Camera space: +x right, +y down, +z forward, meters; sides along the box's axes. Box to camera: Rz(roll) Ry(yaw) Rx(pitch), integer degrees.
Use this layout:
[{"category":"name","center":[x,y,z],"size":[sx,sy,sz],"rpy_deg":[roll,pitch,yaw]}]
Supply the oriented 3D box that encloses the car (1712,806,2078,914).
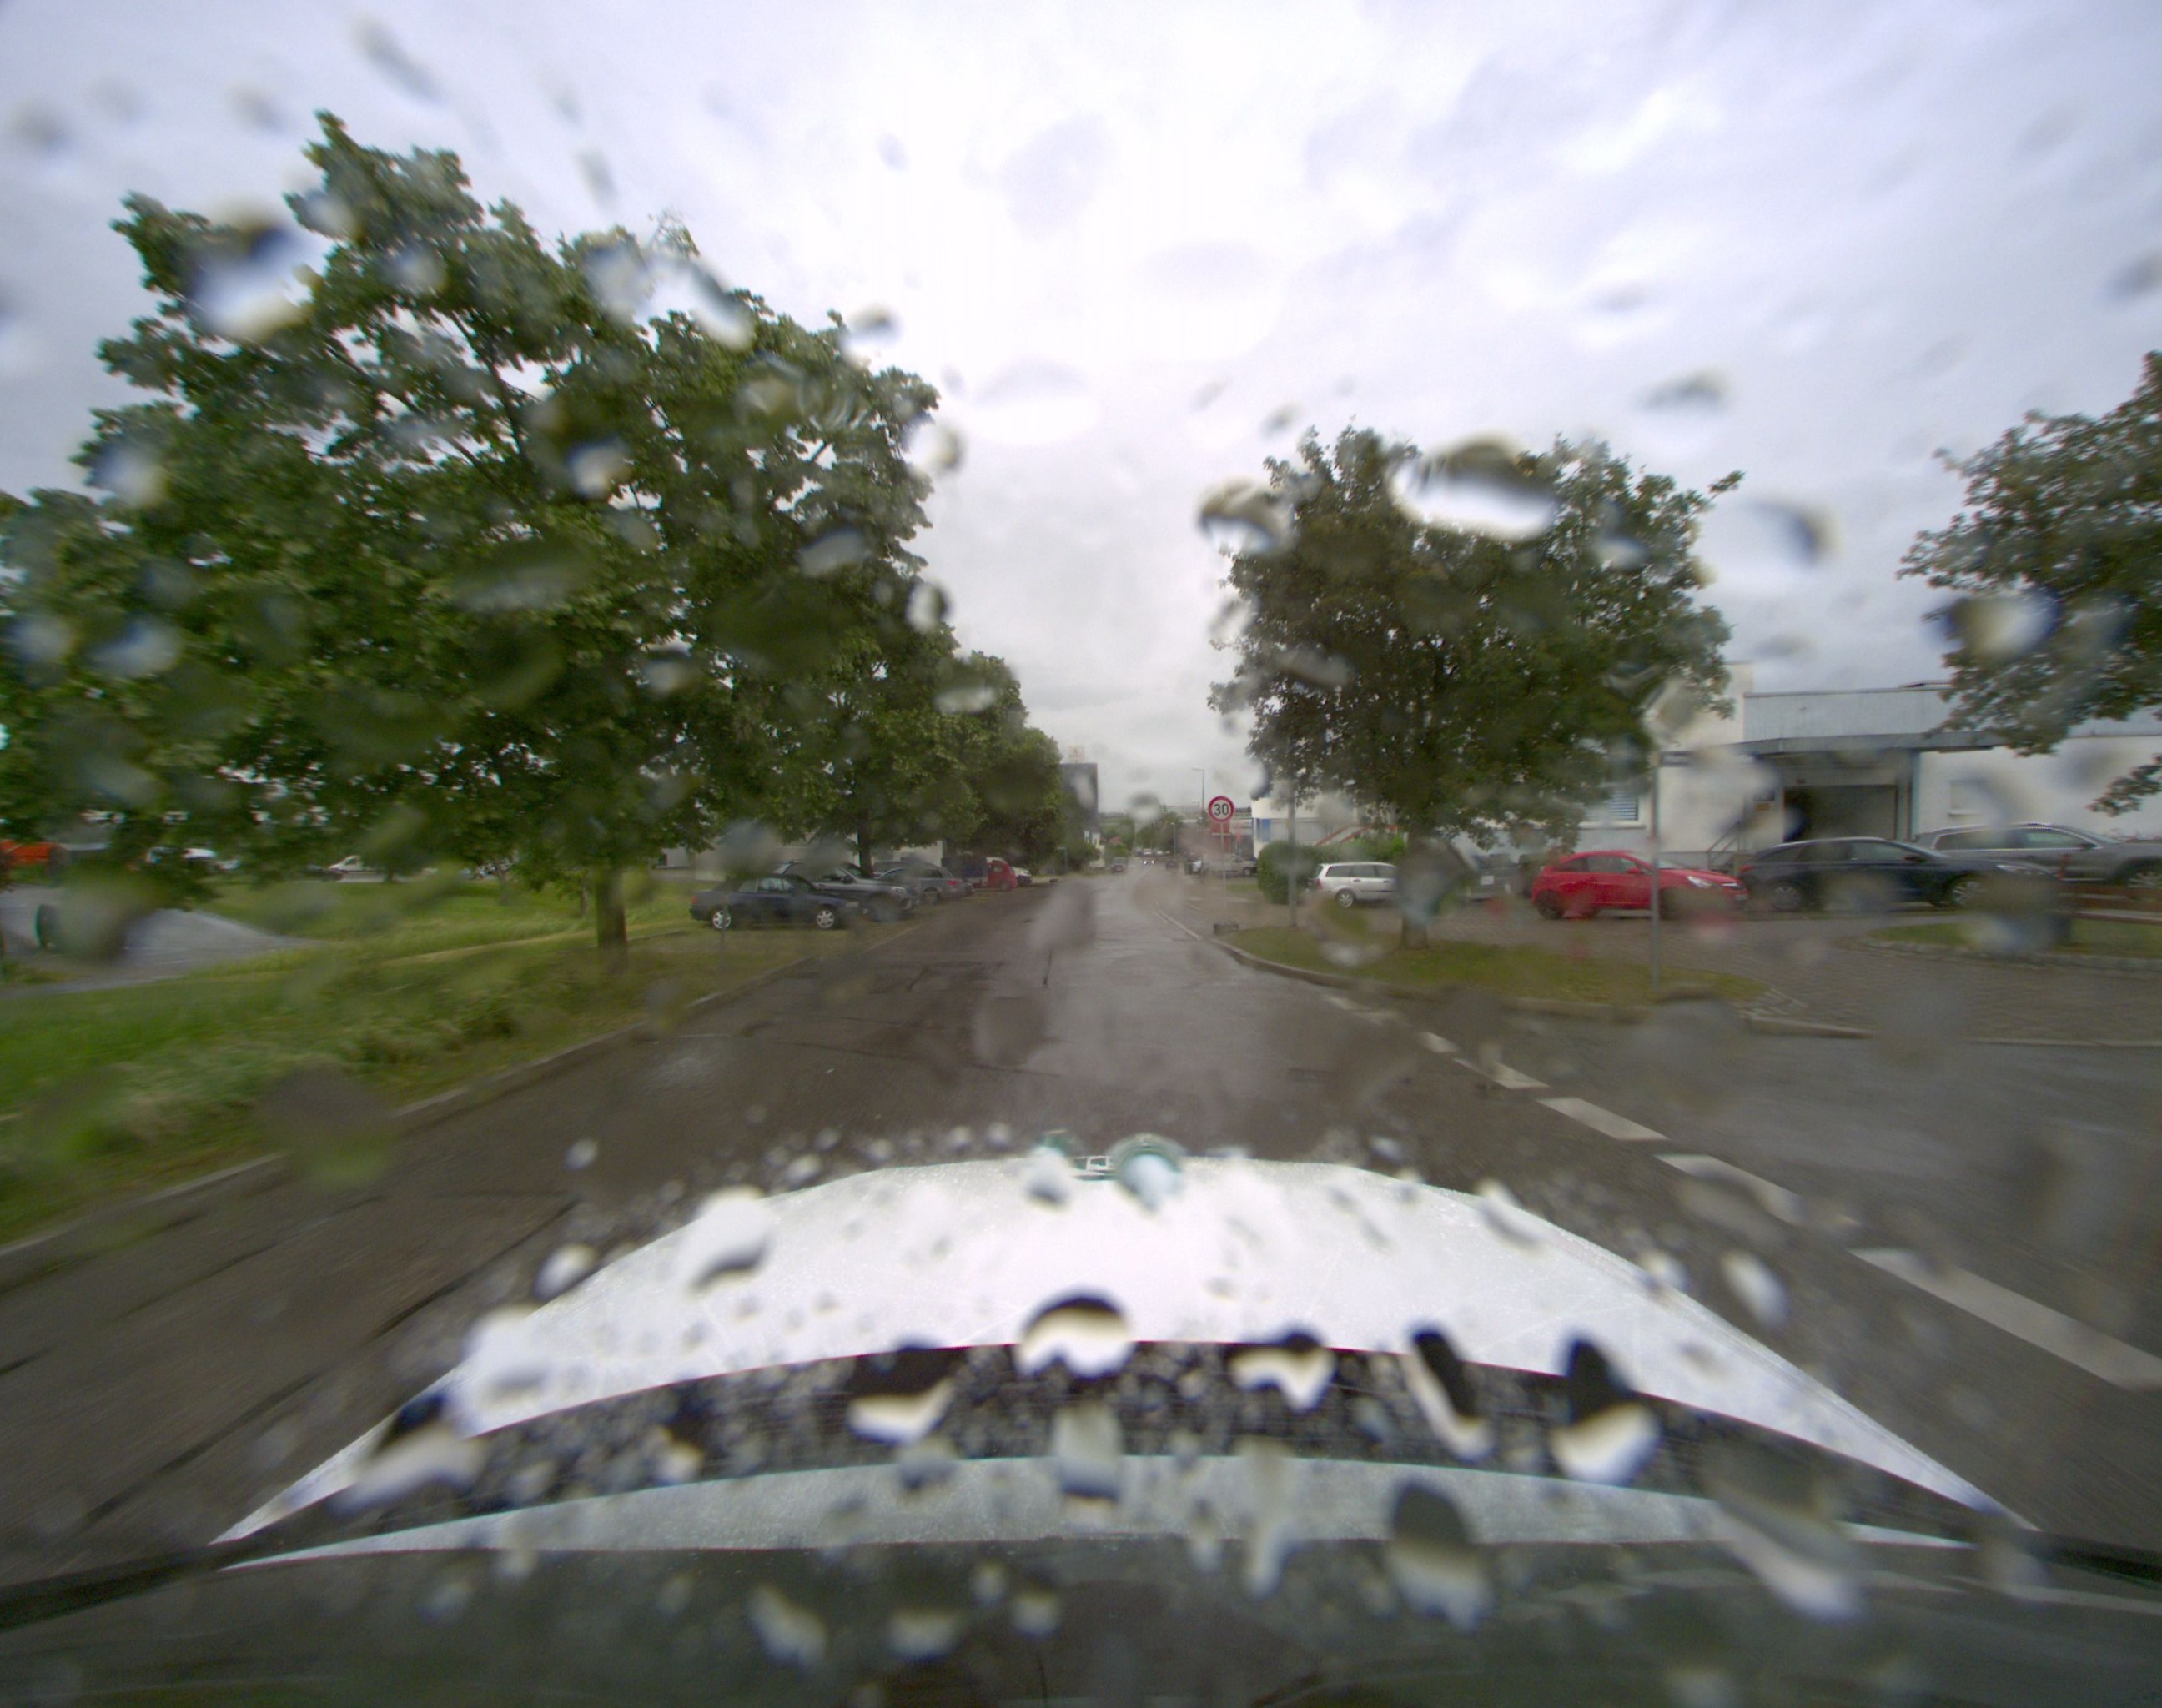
[{"category":"car","center":[15.982,0.229,16.347],"size":[1.865,1.585,4.781],"rpy_deg":[-1,-6,-32]}]

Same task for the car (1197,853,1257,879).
[{"category":"car","center":[10.972,0.883,61.386],"size":[4.318,1.773,2.092],"rpy_deg":[-2,-1,6]}]

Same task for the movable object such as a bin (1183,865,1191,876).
[{"category":"movable object such as a bin","center":[10.212,1.560,78.567],"size":[0.767,1.030,0.810],"rpy_deg":[-1,-1,9]}]

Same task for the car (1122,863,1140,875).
[{"category":"car","center":[6.503,1.931,105.752],"size":[1.945,1.461,5.259],"rpy_deg":[-2,-1,8]}]

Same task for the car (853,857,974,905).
[{"category":"car","center":[-6.354,1.001,31.187],"size":[4.053,1.722,2.029],"rpy_deg":[1,-1,6]}]

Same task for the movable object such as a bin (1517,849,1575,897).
[{"category":"movable object such as a bin","center":[15.337,0.634,26.887],"size":[1.298,1.495,1.031],"rpy_deg":[-3,-1,7]}]

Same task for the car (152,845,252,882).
[{"category":"car","center":[-85.645,0.913,79.469],"size":[1.974,3.430,6.341],"rpy_deg":[-2,-2,33]}]

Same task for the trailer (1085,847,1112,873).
[{"category":"trailer","center":[2.823,1.024,134.739],"size":[2.018,4.203,4.135],"rpy_deg":[-1,-1,-44]}]

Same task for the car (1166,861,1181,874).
[{"category":"car","center":[13.096,1.913,115.519],"size":[1.947,1.676,4.477],"rpy_deg":[-2,-2,4]}]

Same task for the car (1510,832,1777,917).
[{"category":"car","center":[11.903,0.515,17.584],"size":[1.863,1.585,4.286],"rpy_deg":[-1,-4,-28]}]

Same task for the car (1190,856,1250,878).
[{"category":"car","center":[10.986,1.034,64.500],"size":[4.572,1.538,2.083],"rpy_deg":[-3,-1,7]}]

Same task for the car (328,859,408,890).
[{"category":"car","center":[-87.096,2.524,99.589],"size":[2.511,3.425,6.773],"rpy_deg":[-4,-1,33]}]

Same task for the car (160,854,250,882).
[{"category":"car","center":[-83.575,1.348,77.793],"size":[1.975,2.570,5.463],"rpy_deg":[-2,-2,27]}]

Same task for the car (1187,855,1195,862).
[{"category":"car","center":[24.509,1.003,181.728],"size":[1.688,1.475,4.008],"rpy_deg":[-2,-1,7]}]

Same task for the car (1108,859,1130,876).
[{"category":"car","center":[4.329,1.501,91.241],"size":[1.904,1.831,4.860],"rpy_deg":[-1,-1,9]}]

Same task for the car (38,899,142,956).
[{"category":"car","center":[-43.517,3.218,35.752],"size":[4.446,2.220,1.941],"rpy_deg":[-3,-1,27]}]

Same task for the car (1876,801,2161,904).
[{"category":"car","center":[19.434,0.071,16.475],"size":[1.865,1.799,4.412],"rpy_deg":[2,-5,-34]}]

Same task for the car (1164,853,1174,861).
[{"category":"car","center":[23.526,0.850,218.225],"size":[2.138,2.014,3.940],"rpy_deg":[-1,-1,1]}]

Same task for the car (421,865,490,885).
[{"category":"car","center":[-59.436,1.981,77.478],"size":[2.261,1.648,4.649],"rpy_deg":[-4,-1,33]}]

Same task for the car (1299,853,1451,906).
[{"category":"car","center":[9.487,0.825,26.522],"size":[4.293,1.585,1.860],"rpy_deg":[-2,-1,4]}]

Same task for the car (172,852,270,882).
[{"category":"car","center":[-78.718,1.155,74.679],"size":[1.975,2.702,5.846],"rpy_deg":[0,0,26]}]

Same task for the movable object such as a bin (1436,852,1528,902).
[{"category":"movable object such as a bin","center":[13.234,0.739,26.979],"size":[2.254,1.503,1.736],"rpy_deg":[-3,-1,7]}]

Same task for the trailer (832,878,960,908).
[{"category":"trailer","center":[-6.396,1.346,28.502],"size":[3.925,0.961,2.002],"rpy_deg":[0,0,3]}]

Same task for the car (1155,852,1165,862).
[{"category":"car","center":[21.005,0.776,217.519],"size":[2.186,2.459,3.998],"rpy_deg":[-1,-1,-1]}]

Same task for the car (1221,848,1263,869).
[{"category":"car","center":[21.841,0.653,110.470],"size":[5.270,2.013,2.226],"rpy_deg":[-9,-2,7]}]

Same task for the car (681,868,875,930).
[{"category":"car","center":[-7.495,1.093,20.474],"size":[4.203,1.431,1.772],"rpy_deg":[0,-1,-3]}]

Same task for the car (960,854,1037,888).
[{"category":"car","center":[-4.972,1.048,49.294],"size":[4.273,1.906,1.867],"rpy_deg":[-2,-1,10]}]

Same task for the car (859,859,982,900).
[{"category":"car","center":[-6.599,1.035,33.749],"size":[4.595,1.590,1.808],"rpy_deg":[1,-1,5]}]

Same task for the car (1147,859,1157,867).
[{"category":"car","center":[14.585,1.888,167.293],"size":[1.739,1.508,3.940],"rpy_deg":[-4,-2,5]}]

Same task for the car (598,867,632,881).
[{"category":"car","center":[-56.852,2.459,99.292],"size":[3.948,1.618,2.013],"rpy_deg":[-1,-1,34]}]

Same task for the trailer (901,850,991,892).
[{"category":"trailer","center":[-6.847,0.880,41.575],"size":[4.192,1.984,1.776],"rpy_deg":[-2,-1,5]}]

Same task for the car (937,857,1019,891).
[{"category":"car","center":[-5.569,1.073,44.341],"size":[4.179,1.722,1.756],"rpy_deg":[-1,-1,2]}]

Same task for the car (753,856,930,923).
[{"category":"car","center":[-6.692,0.980,23.147],"size":[4.352,1.722,2.045],"rpy_deg":[-1,-1,1]}]
